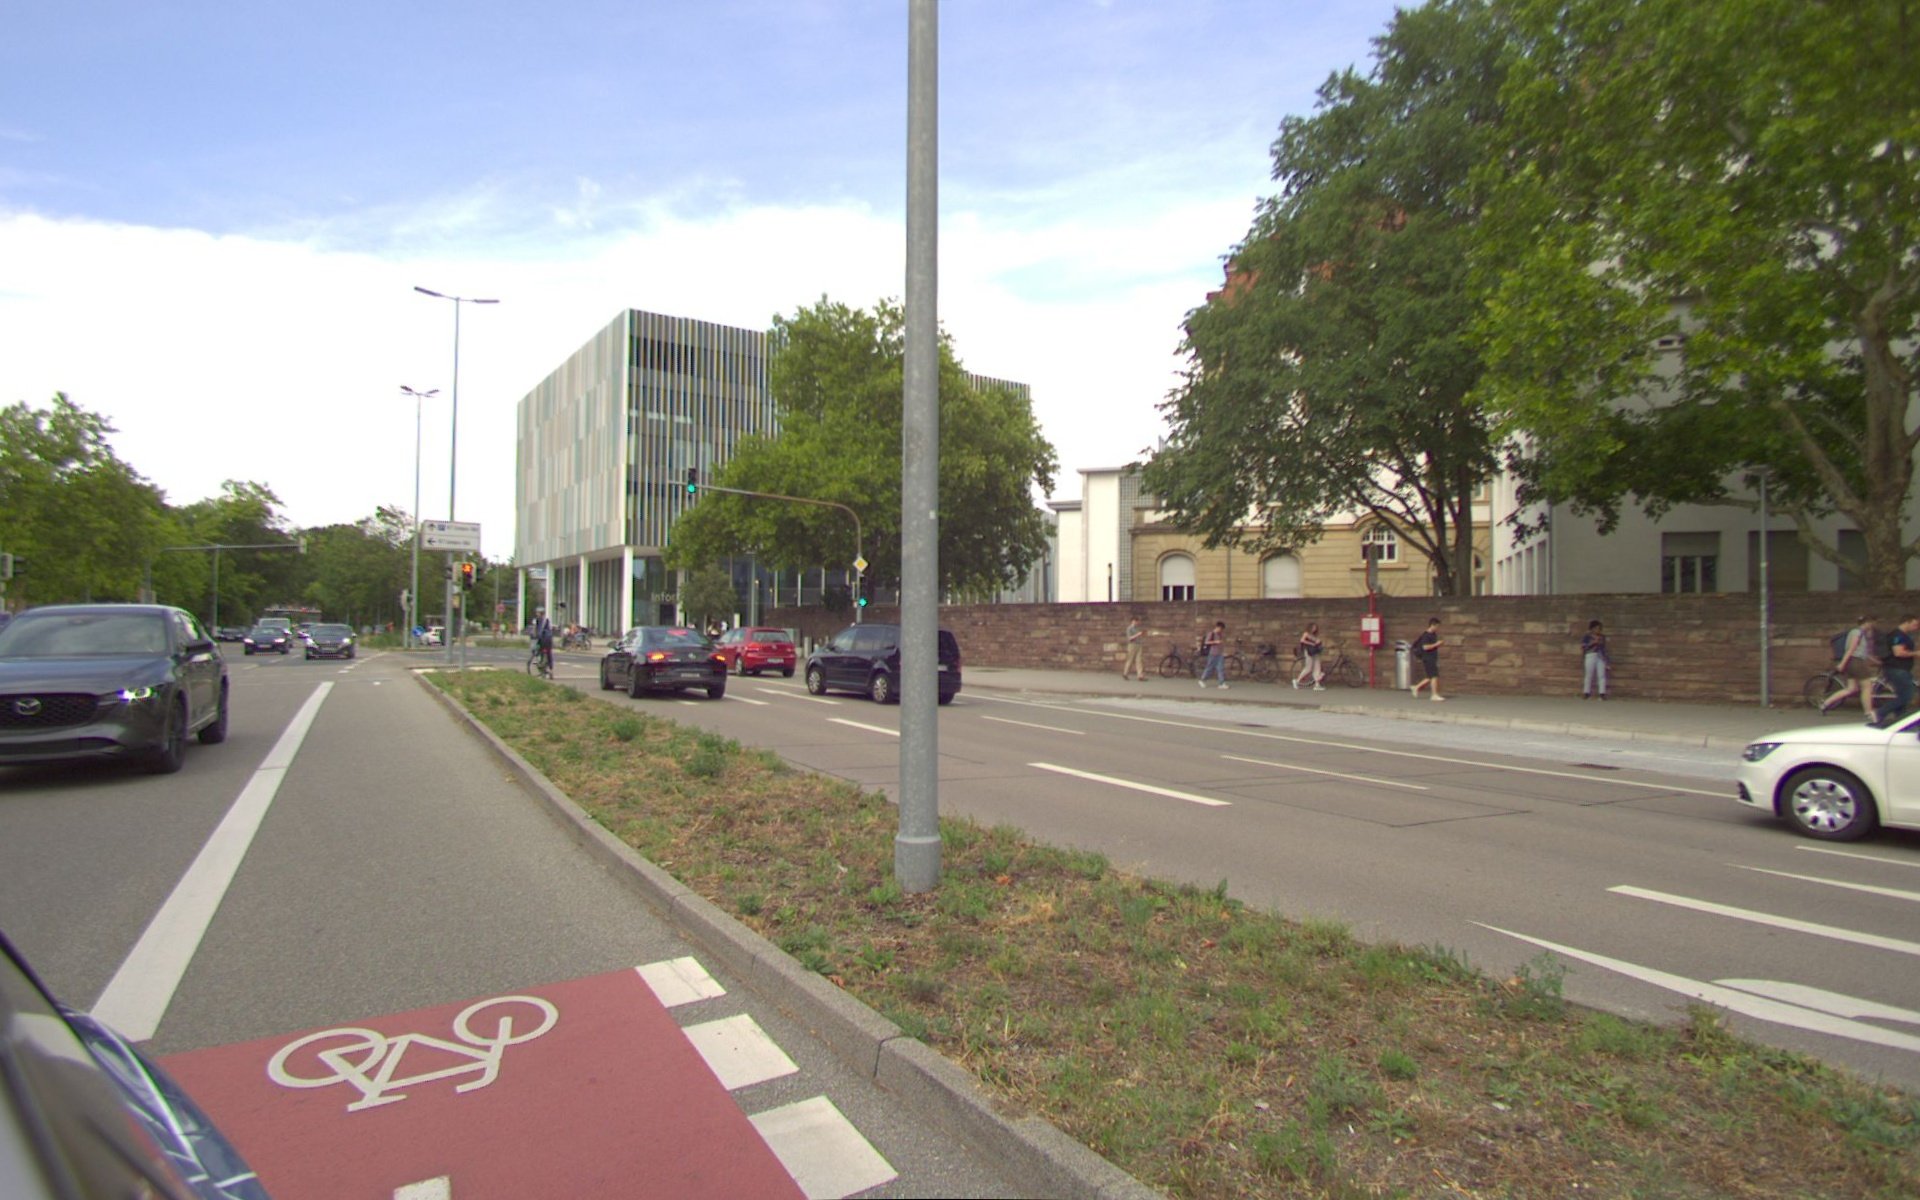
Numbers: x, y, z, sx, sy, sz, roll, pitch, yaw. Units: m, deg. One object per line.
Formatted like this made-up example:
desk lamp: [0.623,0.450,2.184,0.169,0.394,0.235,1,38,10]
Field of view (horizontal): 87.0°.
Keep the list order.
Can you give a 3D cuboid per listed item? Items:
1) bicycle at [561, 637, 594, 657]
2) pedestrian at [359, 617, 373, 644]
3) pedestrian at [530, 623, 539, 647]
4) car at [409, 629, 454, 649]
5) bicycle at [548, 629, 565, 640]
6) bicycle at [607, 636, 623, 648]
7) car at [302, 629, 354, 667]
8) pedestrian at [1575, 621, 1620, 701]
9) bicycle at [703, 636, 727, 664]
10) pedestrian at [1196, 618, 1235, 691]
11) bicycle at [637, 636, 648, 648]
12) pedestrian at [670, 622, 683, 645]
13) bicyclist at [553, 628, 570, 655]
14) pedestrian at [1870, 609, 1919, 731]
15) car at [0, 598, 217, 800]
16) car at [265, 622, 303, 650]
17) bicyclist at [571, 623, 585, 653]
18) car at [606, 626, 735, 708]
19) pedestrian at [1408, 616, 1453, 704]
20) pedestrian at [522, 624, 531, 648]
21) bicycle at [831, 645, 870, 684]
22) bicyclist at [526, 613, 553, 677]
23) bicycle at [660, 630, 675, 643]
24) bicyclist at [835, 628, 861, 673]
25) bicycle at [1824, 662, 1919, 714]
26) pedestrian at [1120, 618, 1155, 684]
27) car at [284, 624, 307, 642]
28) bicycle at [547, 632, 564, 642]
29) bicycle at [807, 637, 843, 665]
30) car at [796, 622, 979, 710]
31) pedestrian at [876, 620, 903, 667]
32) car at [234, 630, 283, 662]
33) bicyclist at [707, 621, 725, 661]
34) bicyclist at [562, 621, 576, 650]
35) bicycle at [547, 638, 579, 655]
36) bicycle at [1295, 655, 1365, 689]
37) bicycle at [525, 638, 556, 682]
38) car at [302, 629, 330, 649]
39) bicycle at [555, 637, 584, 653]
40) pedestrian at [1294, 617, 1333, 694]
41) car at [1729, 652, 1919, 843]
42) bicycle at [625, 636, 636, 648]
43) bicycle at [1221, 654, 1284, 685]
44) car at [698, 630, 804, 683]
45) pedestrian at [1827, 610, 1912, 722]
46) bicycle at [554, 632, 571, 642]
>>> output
bicycle: [-23.616,2.893,62.510,0.606,1.179,1.869,-2,-3,41]
pedestrian: [-41.524,2.159,70.731,0.715,1.867,1.067,1,-2,-36]
pedestrian: [-32.771,2.687,78.004,0.504,1.851,0.626,2,-3,-35]
car: [-41.105,2.991,78.650,4.418,1.500,1.781,-2,-3,45]
bicycle: [-41.974,3.587,105.369,1.557,1.031,0.390,-1,-1,-39]
bicycle: [-29.481,3.580,86.484,0.391,0.944,1.599,-2,-1,22]
car: [-26.687,1.981,42.790,1.633,1.475,4.012,-1,-1,-29]
pedestrian: [13.190,1.247,20.930,0.734,1.604,0.581,0,-1,36]
bicycle: [-11.079,2.263,45.783,0.610,1.226,2.051,1,-2,-26]
pedestrian: [6.433,1.353,25.496,0.780,1.796,0.754,1,-1,29]
bicycle: [-26.725,3.510,85.143,0.388,0.944,1.598,-1,-1,-1]
pedestrian: [-22.172,2.629,79.056,0.674,1.753,0.725,-1,-2,22]
bicyclist: [-25.781,2.679,65.458,0.723,1.685,0.718,-1,-1,42]
pedestrian: [14.281,1.041,15.268,0.720,1.796,0.752,1,-1,35]
car: [-8.962,0.875,10.395,1.874,1.661,4.657,0,-1,-33]
car: [-44.693,2.400,66.987,1.966,1.785,4.011,2,-2,-32]
bicyclist: [-23.603,2.358,62.491,0.562,1.820,0.593,-1,-3,41]
car: [-6.068,1.302,20.871,1.776,1.500,4.420,1,-2,-26]
pedestrian: [9.890,1.233,21.251,0.781,1.796,0.753,1,-1,30]
pedestrian: [-33.261,2.746,77.614,0.504,1.851,0.774,2,-3,-35]
bicycle: [-3.533,2.052,32.570,0.573,1.179,1.970,1,-2,-27]
bicyclist: [-10.636,1.122,25.578,0.564,1.586,0.701,1,-2,-27]
bicycle: [-24.182,2.982,83.622,0.391,1.037,1.537,-2,-1,18]
bicyclist: [-3.632,1.622,32.699,0.572,1.430,0.814,1,-2,-27]
bicycle: [16.474,1.566,18.040,1.620,0.834,0.436,-1,0,42]
pedestrian: [4.967,1.410,28.306,0.780,1.796,0.740,1,-1,26]
car: [-71.510,3.523,108.915,1.835,1.896,4.011,2,-2,-31]
bicycle: [-42.356,3.868,105.972,1.557,1.031,0.390,-1,-1,-39]
bicycle: [-5.849,2.205,43.790,0.570,1.134,2.170,-2,0,-36]
car: [-1.652,1.343,21.572,1.778,1.678,4.309,4,-4,-37]
pedestrian: [-2.738,1.672,39.521,0.779,1.796,0.741,1,-1,24]
car: [-35.150,2.269,50.679,1.635,1.475,4.007,-1,-1,-40]
bicyclist: [-11.027,1.855,45.657,0.609,1.796,0.814,1,-2,-26]
bicyclist: [-24.689,2.251,63.932,0.562,1.820,0.593,-1,-1,42]
bicycle: [-25.693,3.006,65.545,0.728,0.996,1.797,-2,-1,42]
bicycle: [9.358,1.810,25.647,0.435,0.803,1.623,-1,-2,-40]
bicycle: [-10.626,1.495,25.615,0.565,1.063,1.932,1,-2,-27]
car: [-50.990,3.076,80.071,1.634,1.475,4.009,-1,-1,-36]
bicycle: [-24.665,2.811,63.950,0.571,0.996,1.668,-1,-3,42]
pedestrian: [8.560,1.322,24.522,0.780,1.796,0.754,1,-1,27]
car: [8.274,1.137,7.360,1.647,1.400,3.934,3,-3,-30]
bicycle: [-27.758,3.523,85.320,0.388,0.944,1.598,-1,-1,-1]
bicycle: [7.904,1.863,27.389,0.435,0.803,1.623,-1,-2,-40]
car: [-6.496,1.674,31.146,1.777,1.500,4.300,1,-2,-32]
pedestrian: [15.282,1.085,17.024,0.911,1.796,0.753,1,-1,30]
bicycle: [-40.776,3.790,103.848,1.557,1.031,0.390,-1,-1,-39]
